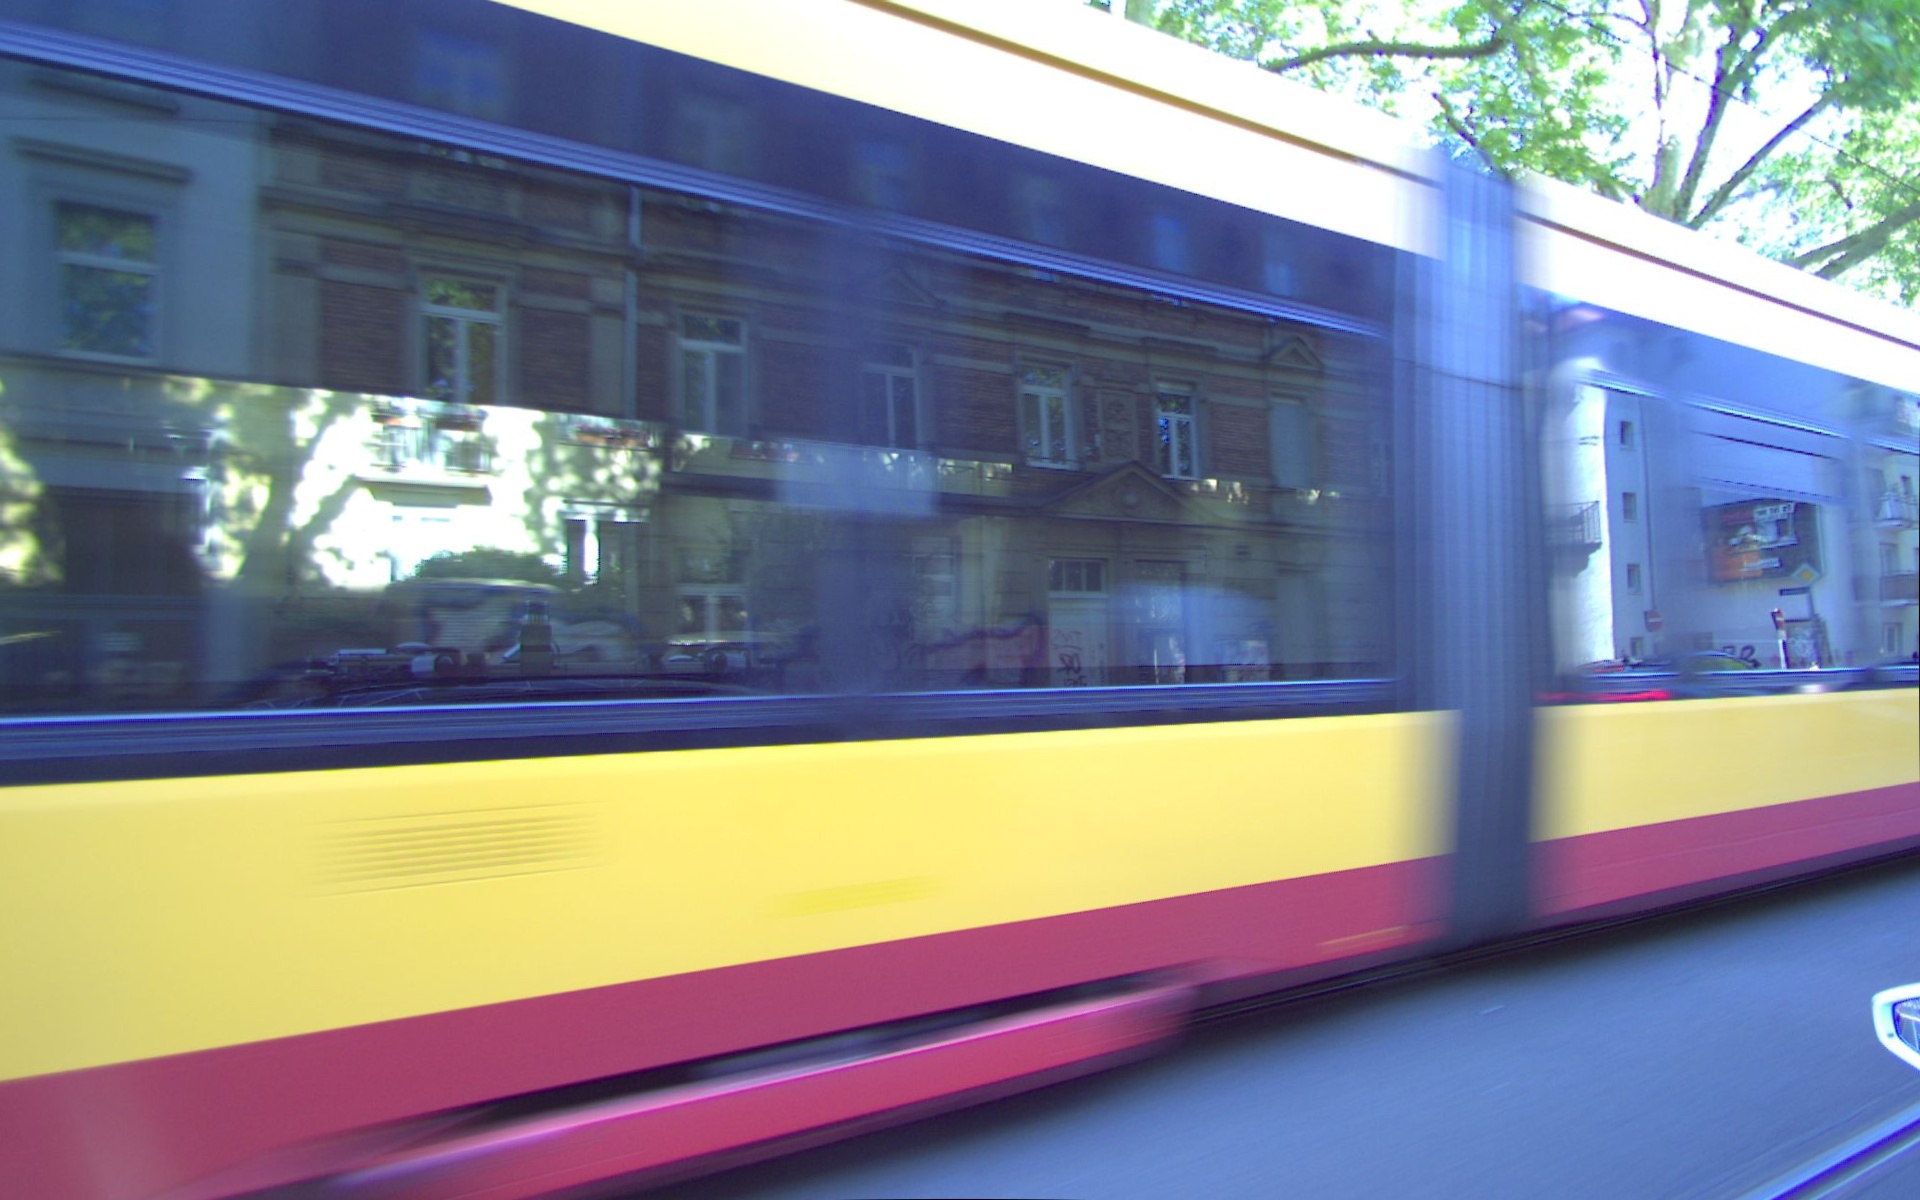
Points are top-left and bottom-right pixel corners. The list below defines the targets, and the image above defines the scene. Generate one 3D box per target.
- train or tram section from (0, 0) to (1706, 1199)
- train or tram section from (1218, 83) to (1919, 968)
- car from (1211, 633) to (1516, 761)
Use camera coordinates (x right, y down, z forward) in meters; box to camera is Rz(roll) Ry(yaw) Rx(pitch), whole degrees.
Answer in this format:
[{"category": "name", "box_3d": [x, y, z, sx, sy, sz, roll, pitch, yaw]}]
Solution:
[{"category": "train or tram section", "box_3d": [-2.607, -0.381, 2.757, 11.117, 3.667, 2.925, 2, 0, -28]}, {"category": "train or tram section", "box_3d": [7.273, -0.180, 8.036, 10.923, 3.667, 2.925, 2, 0, -28]}, {"category": "car", "box_3d": [6.084, 1.370, 15.644, 1.882, 1.517, 4.125, 2, 0, -30]}]
